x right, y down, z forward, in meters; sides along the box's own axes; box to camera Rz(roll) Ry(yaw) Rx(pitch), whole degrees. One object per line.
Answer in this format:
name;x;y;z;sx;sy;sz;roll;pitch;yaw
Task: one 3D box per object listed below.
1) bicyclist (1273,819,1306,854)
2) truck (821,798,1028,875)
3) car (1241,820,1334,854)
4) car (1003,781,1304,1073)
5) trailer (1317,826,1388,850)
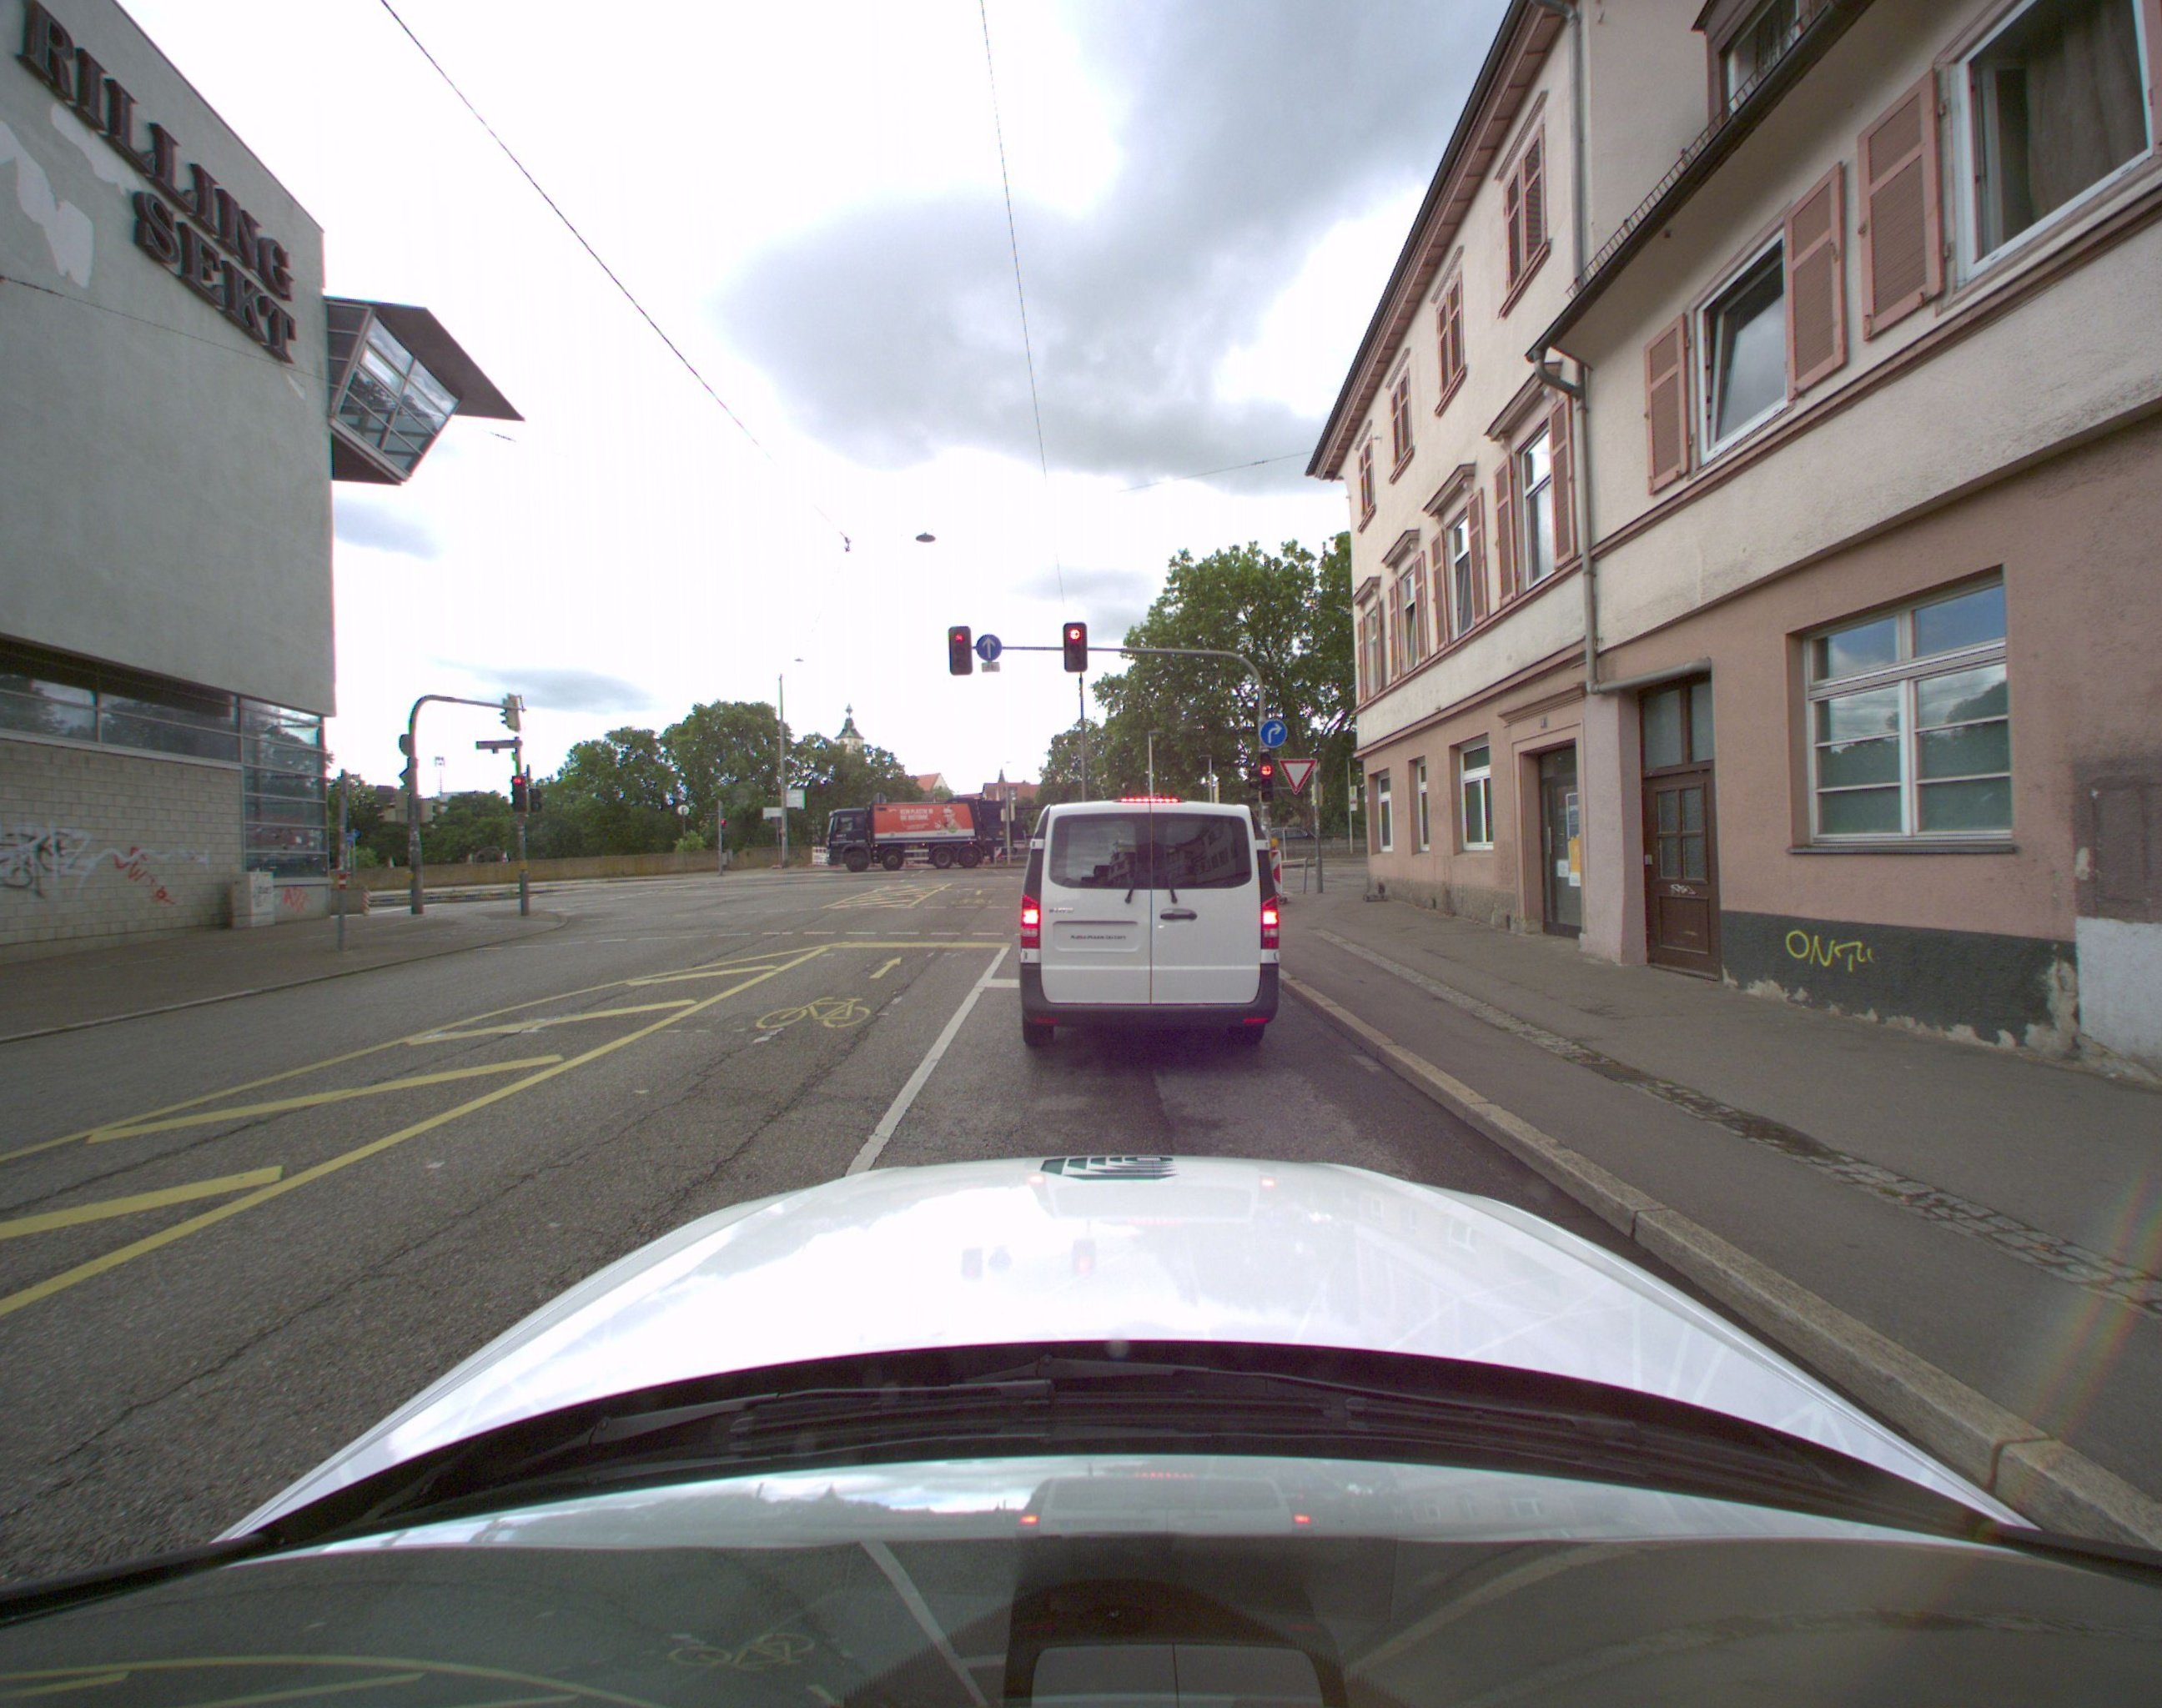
bicyclist;13.168;-1.093;51.431;1.565;2.156;1.242;-2;0;-12
truck;-7.958;-0.947;42.056;10.196;3.696;2.261;-1;0;-13
car;11.344;-0.924;44.955;4.514;1.634;1.995;-3;0;-7
car;0.495;0.425;7.541;1.987;1.922;4.249;-1;2;0
trailer;15.107;-0.858;45.419;3.197;1.158;1.996;-3;0;-7
